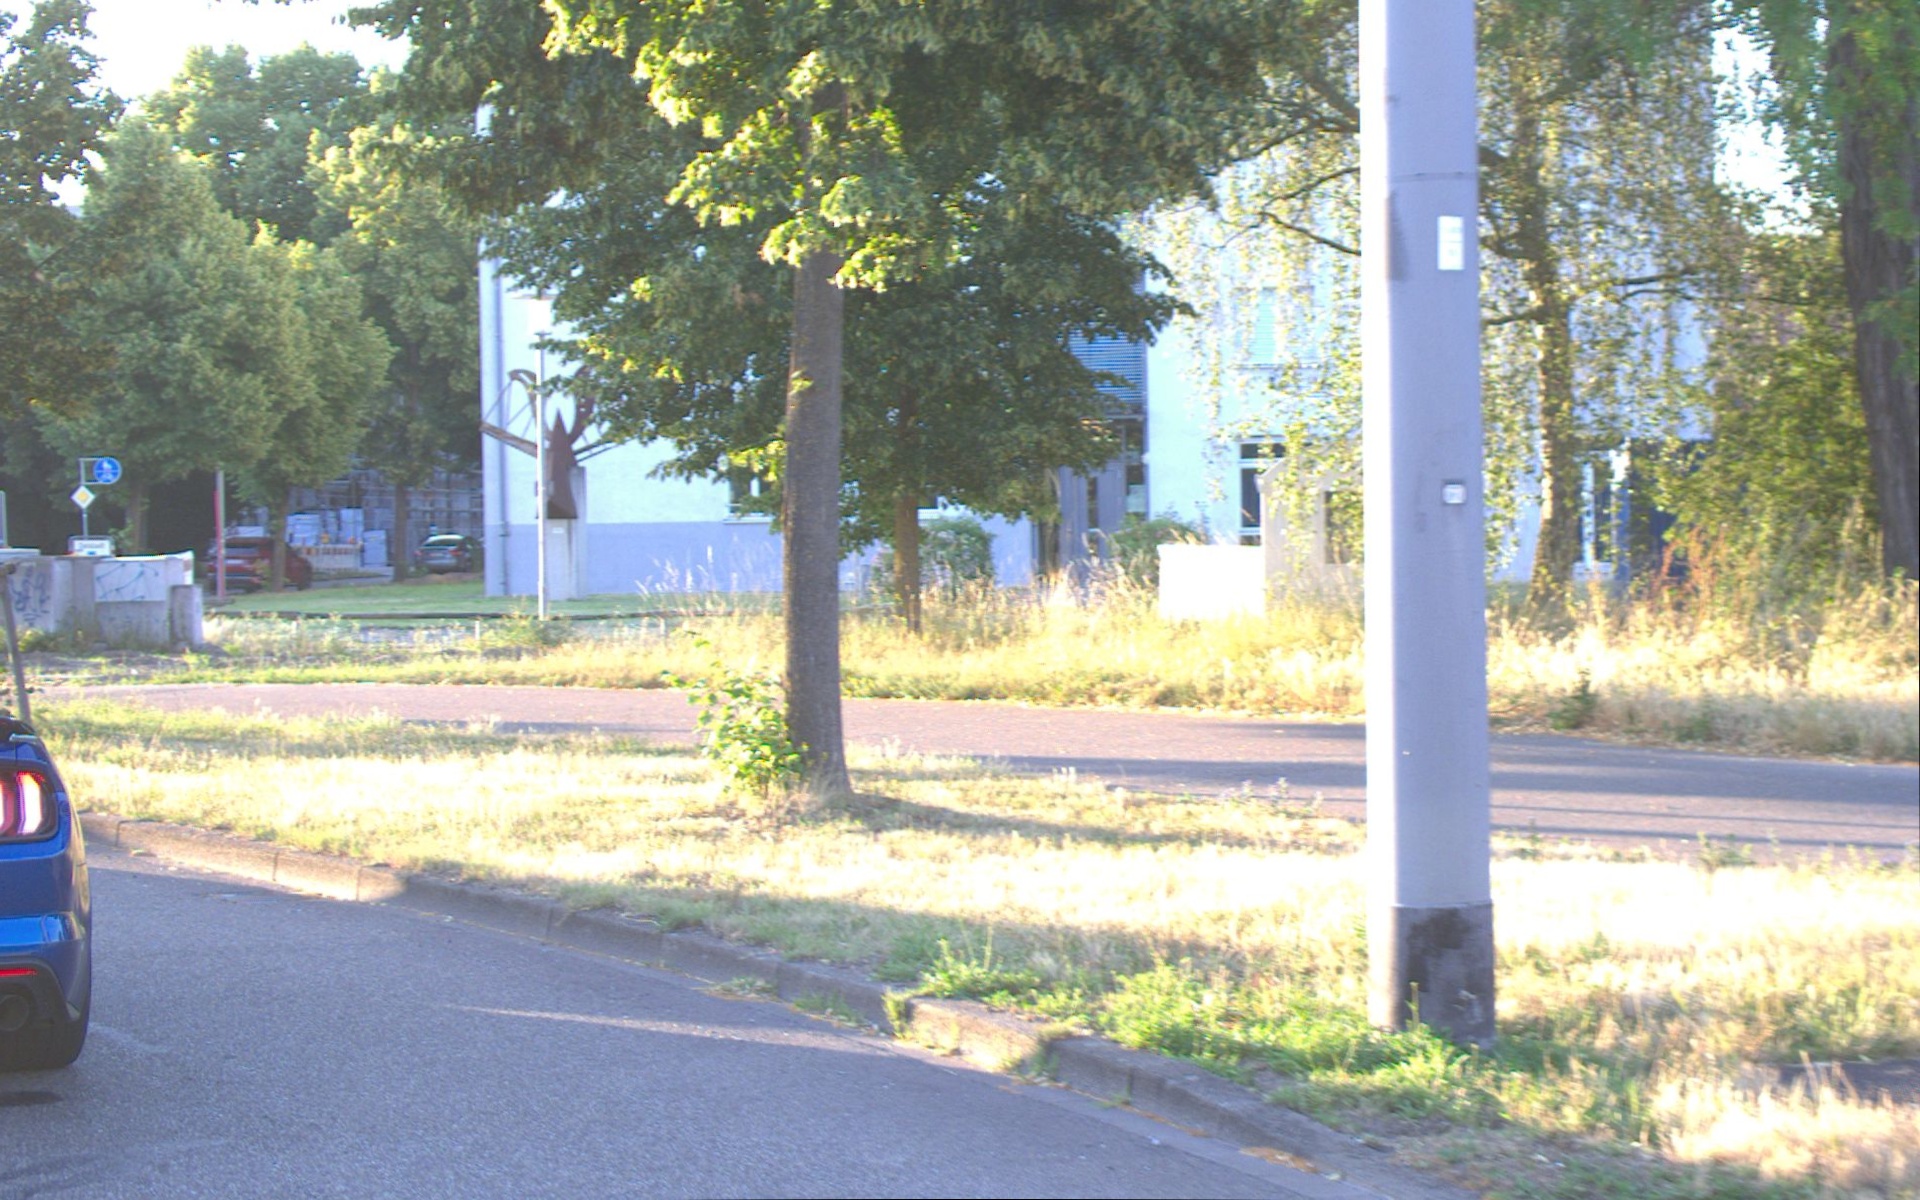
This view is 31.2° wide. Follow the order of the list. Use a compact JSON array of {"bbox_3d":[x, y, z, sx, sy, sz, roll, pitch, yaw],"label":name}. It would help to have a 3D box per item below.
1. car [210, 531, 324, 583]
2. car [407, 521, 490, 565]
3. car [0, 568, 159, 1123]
[{"bbox_3d":[-19.624,-1.234,97.508,1.876,1.396,3.915,-1,2,10],"label":"car"},{"bbox_3d":[-17.271,-1.937,116.263,1.876,1.396,3.916,-1,2,5],"label":"car"},{"bbox_3d":[-3.883,0.576,10.270,1.951,1.337,4.672,0,1,-25],"label":"car"}]
